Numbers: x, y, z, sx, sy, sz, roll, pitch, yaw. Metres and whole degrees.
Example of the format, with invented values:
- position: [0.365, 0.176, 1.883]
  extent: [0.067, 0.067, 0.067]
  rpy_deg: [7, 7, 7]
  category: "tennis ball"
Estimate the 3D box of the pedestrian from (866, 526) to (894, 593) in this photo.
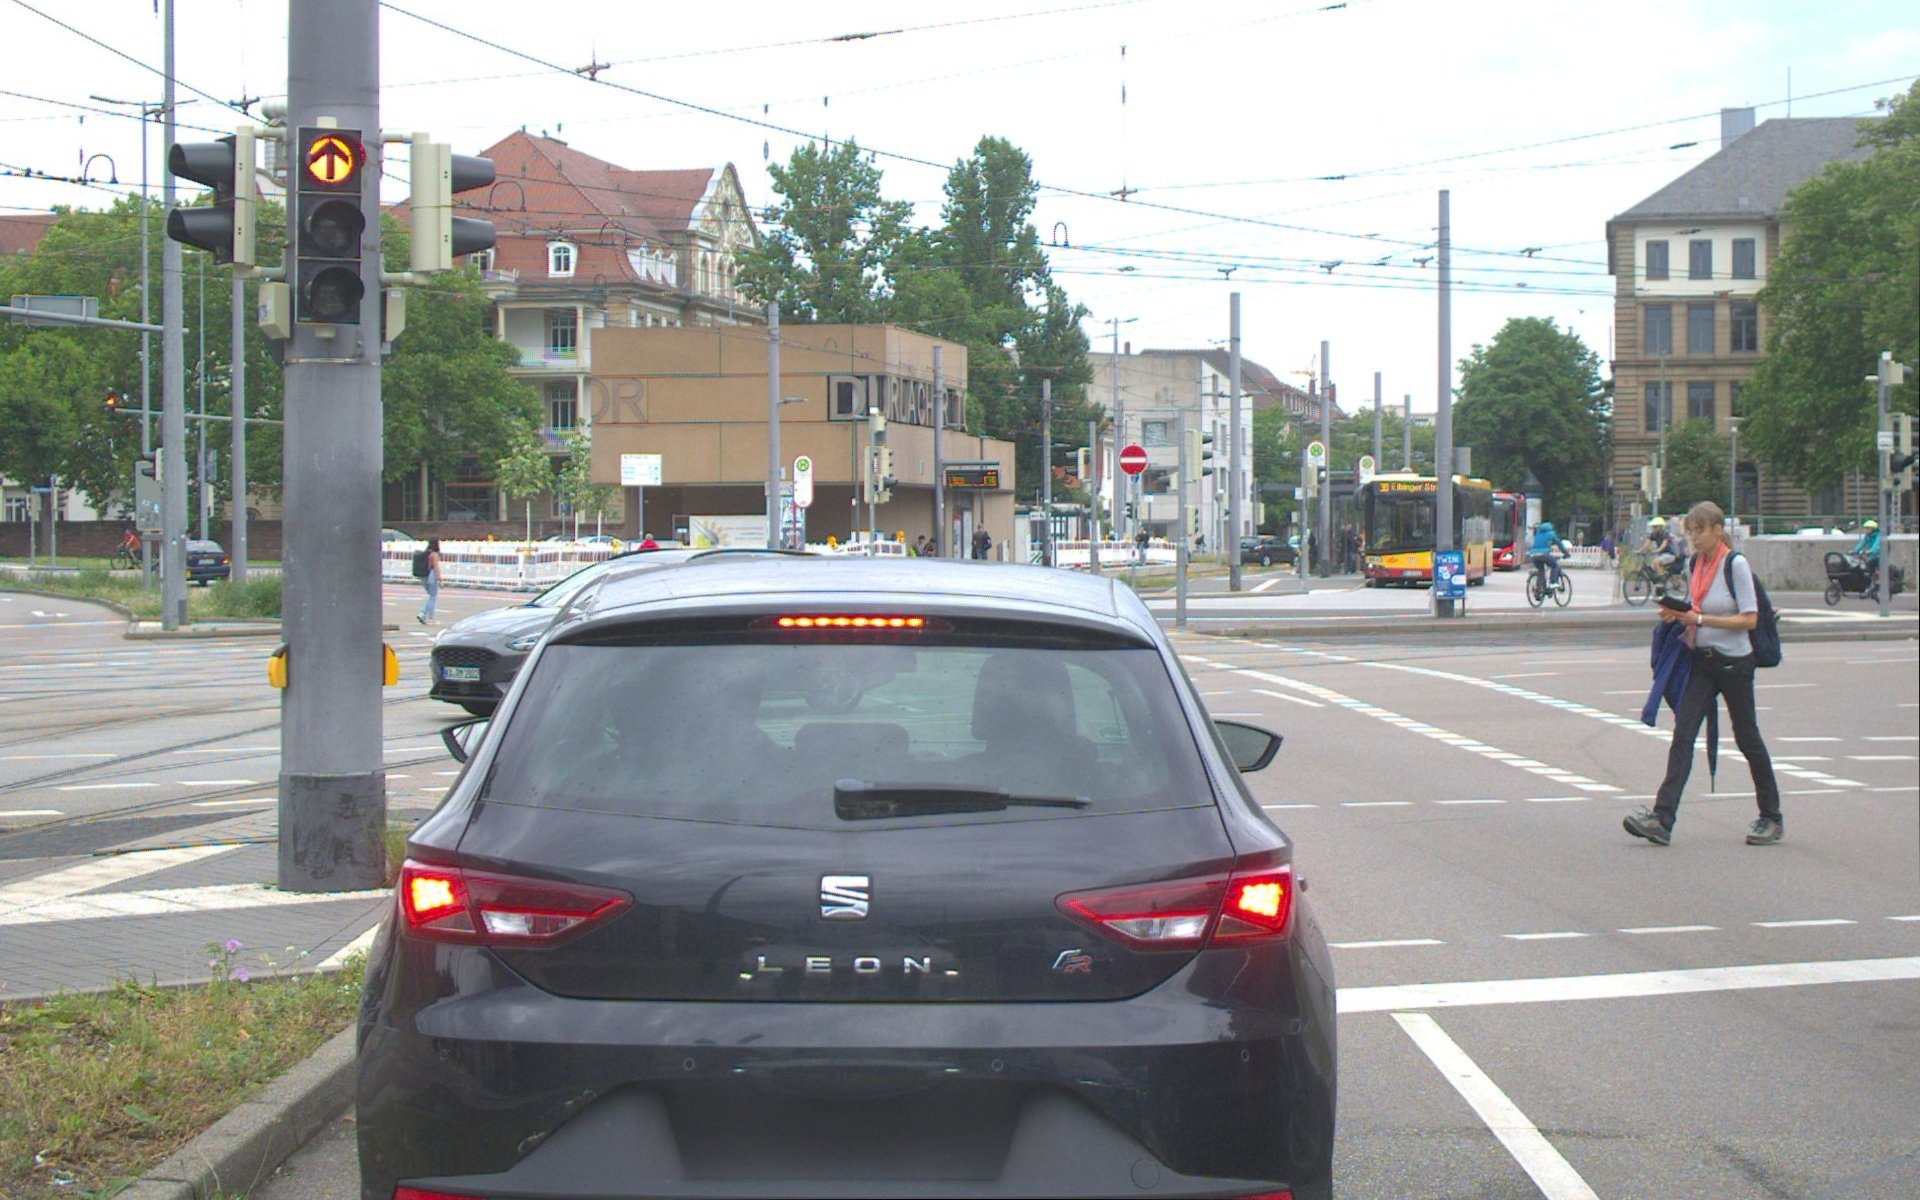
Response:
- position: [-2.264, -1.150, 97.932]
  extent: [0.708, 1.911, 0.623]
  rpy_deg: [0, 1, 8]
  category: "pedestrian"

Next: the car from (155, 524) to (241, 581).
- position: [-23.583, -1.450, 106.331]
  extent: [1.993, 1.678, 4.001]
  rpy_deg: [0, 0, -21]
  category: "car"

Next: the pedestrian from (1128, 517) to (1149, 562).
- position: [7.575, -2.555, 145.911]
  extent: [0.622, 1.911, 0.709]
  rpy_deg: [0, 0, 26]
  category: "pedestrian"

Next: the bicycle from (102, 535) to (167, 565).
- position: [-33.077, -2.014, 137.769]
  extent: [0.941, 1.174, 2.725]
  rpy_deg: [1, 1, 29]
  category: "bicycle"

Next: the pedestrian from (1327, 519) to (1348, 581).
- position: [11.619, -1.541, 105.842]
  extent: [0.621, 1.911, 0.698]
  rpy_deg: [0, 1, 10]
  category: "pedestrian"

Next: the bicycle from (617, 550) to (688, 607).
- position: [-6.614, -0.470, 73.787]
  extent: [0.891, 1.174, 2.303]
  rpy_deg: [0, 1, -21]
  category: "bicycle"

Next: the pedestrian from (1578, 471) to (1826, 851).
- position: [3.852, 0.299, 17.834]
  extent: [1.101, 1.900, 0.735]
  rpy_deg: [0, 1, -42]
  category: "pedestrian"

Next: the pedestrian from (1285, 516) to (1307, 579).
- position: [10.306, -1.608, 105.411]
  extent: [0.621, 1.911, 0.698]
  rpy_deg: [0, 1, 10]
  category: "pedestrian"

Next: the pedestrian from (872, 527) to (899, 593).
- position: [-2.136, -1.150, 98.727]
  extent: [0.708, 1.911, 0.623]
  rpy_deg: [0, 1, 8]
  category: "pedestrian"

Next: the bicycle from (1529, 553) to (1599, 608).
- position: [12.478, -0.408, 71.078]
  extent: [0.865, 1.101, 2.302]
  rpy_deg: [0, 1, -5]
  category: "bicycle"

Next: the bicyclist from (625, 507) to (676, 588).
- position: [-6.661, -1.123, 73.920]
  extent: [0.882, 1.726, 0.894]
  rpy_deg: [0, 1, -21]
  category: "bicyclist"

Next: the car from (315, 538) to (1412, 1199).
- position: [-0.277, 0.603, 7.258]
  extent: [1.704, 1.444, 3.813]
  rpy_deg: [0, 1, -4]
  category: "car"

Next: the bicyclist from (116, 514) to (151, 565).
- position: [-33.122, -2.431, 137.743]
  extent: [0.939, 2.007, 0.977]
  rpy_deg: [1, 1, 29]
  category: "bicyclist"

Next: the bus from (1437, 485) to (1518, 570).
- position: [20.813, -2.894, 137.826]
  extent: [2.655, 3.272, 10.990]
  rpy_deg: [0, 1, 11]
  category: "bus"

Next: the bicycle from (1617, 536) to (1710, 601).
- position: [14.260, -0.642, 69.711]
  extent: [1.730, 1.317, 0.645]
  rpy_deg: [0, 1, -13]
  category: "bicycle"

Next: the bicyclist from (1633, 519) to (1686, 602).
- position: [14.178, -0.801, 69.689]
  extent: [0.854, 1.667, 0.654]
  rpy_deg: [0, 1, -13]
  category: "bicyclist"

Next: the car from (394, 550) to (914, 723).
- position: [-2.648, 0.271, 30.356]
  extent: [4.379, 1.391, 1.698]
  rpy_deg: [-1, 2, -39]
  category: "car"

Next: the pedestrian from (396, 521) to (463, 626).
- position: [-9.873, -0.497, 64.016]
  extent: [0.700, 1.927, 1.028]
  rpy_deg: [1, 1, 39]
  category: "pedestrian"

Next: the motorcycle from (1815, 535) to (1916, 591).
- position: [18.434, -0.760, 69.978]
  extent: [2.134, 1.135, 0.744]
  rpy_deg: [-1, 1, -32]
  category: "motorcycle"

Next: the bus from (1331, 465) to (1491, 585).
- position: [12.552, -2.054, 94.684]
  extent: [2.962, 3.112, 11.531]
  rpy_deg: [0, 1, 15]
  category: "bus"

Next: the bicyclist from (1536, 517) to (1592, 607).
- position: [12.470, -0.796, 71.001]
  extent: [0.871, 1.845, 1.048]
  rpy_deg: [0, 1, -5]
  category: "bicyclist"

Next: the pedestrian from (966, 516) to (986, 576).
- position: [0.520, -1.740, 110.257]
  extent: [0.621, 1.911, 0.710]
  rpy_deg: [0, 1, 3]
  category: "pedestrian"

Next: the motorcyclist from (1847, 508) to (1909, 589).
- position: [18.735, -1.052, 70.185]
  extent: [0.977, 1.644, 0.750]
  rpy_deg: [-1, 1, -33]
  category: "motorcyclist"
